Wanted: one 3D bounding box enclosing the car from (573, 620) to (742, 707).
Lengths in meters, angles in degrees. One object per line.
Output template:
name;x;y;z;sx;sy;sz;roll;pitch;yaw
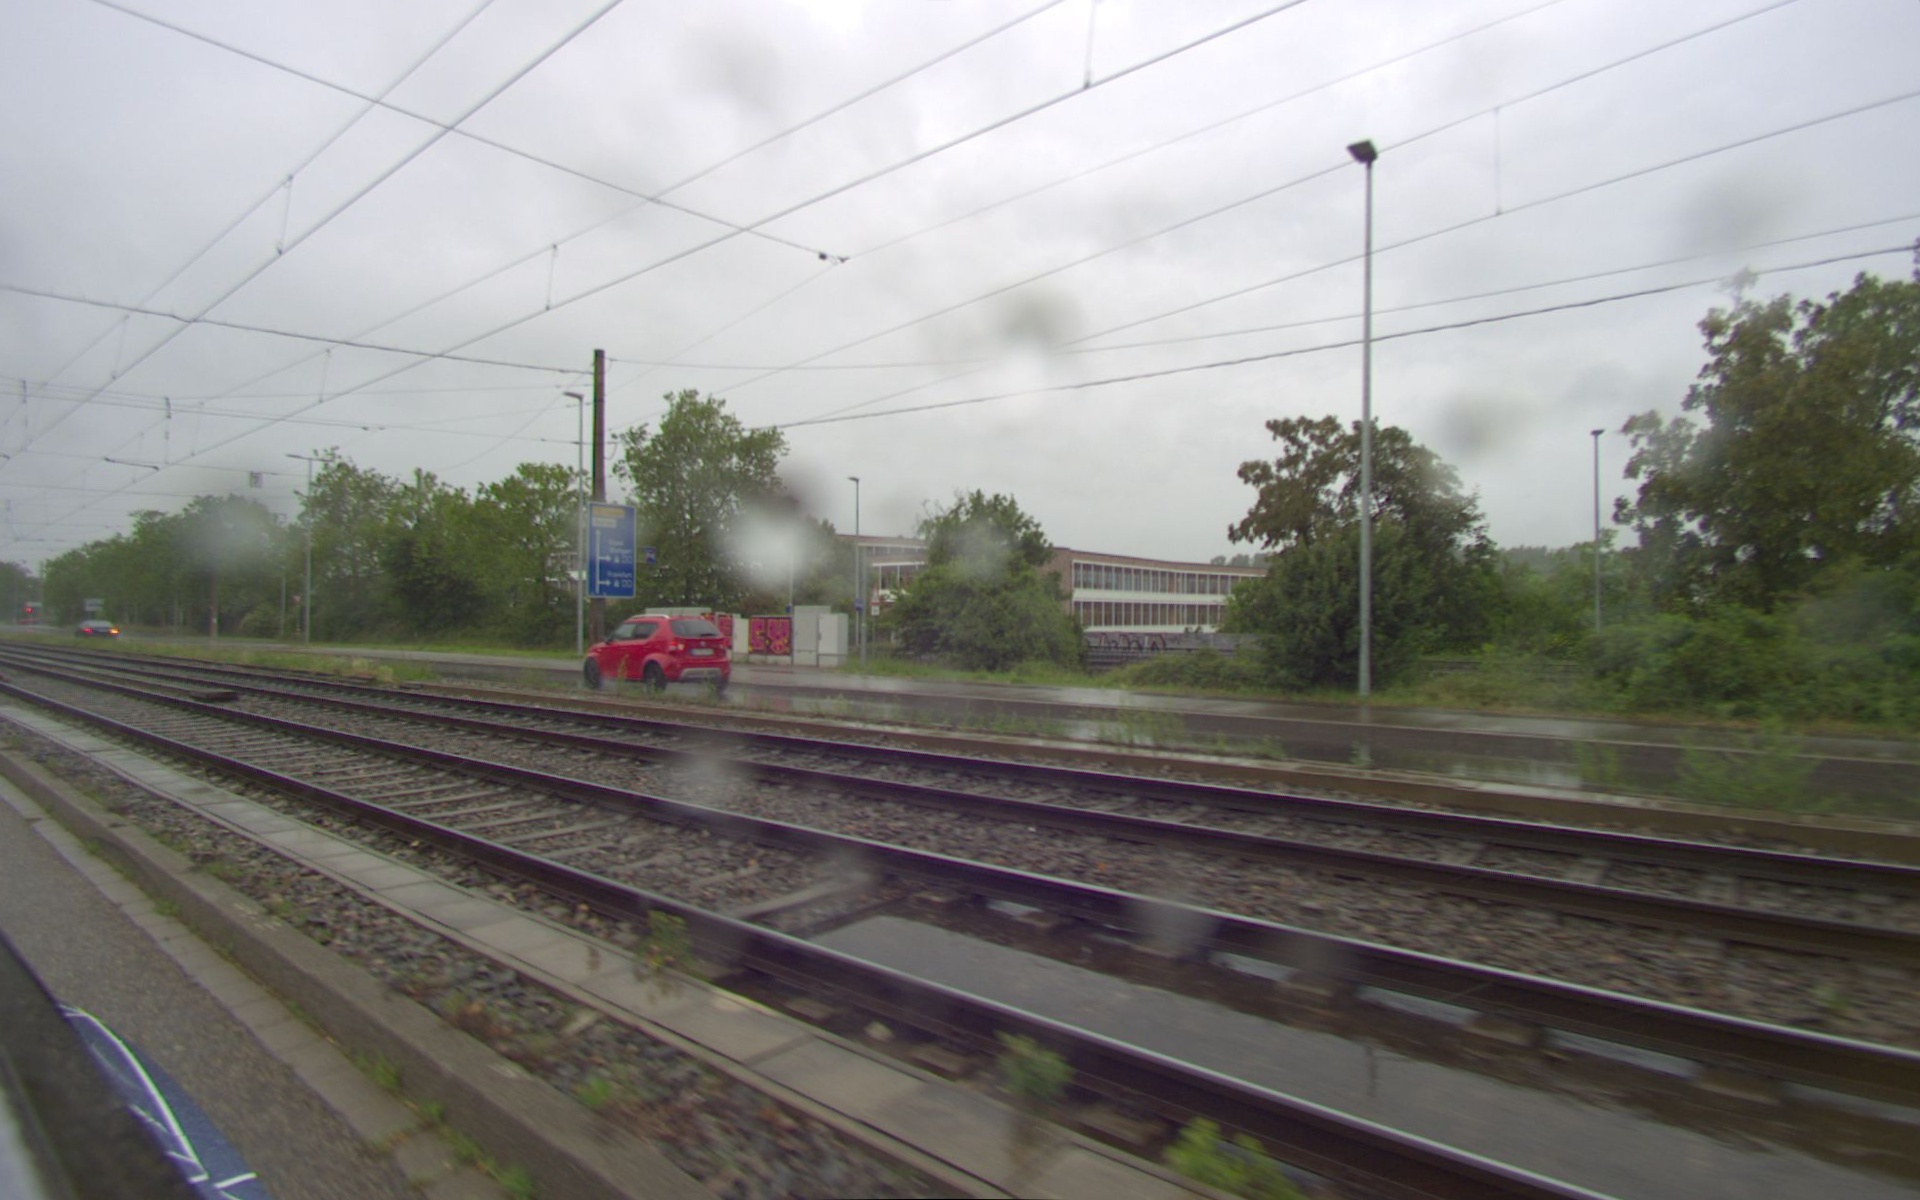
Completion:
car;-6.371;1.245;21.156;3.649;1.613;1.706;-1;0;41

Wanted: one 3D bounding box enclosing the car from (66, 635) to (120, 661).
car;-57.895;3.201;67.569;4.953;1.534;1.973;-1;0;40
